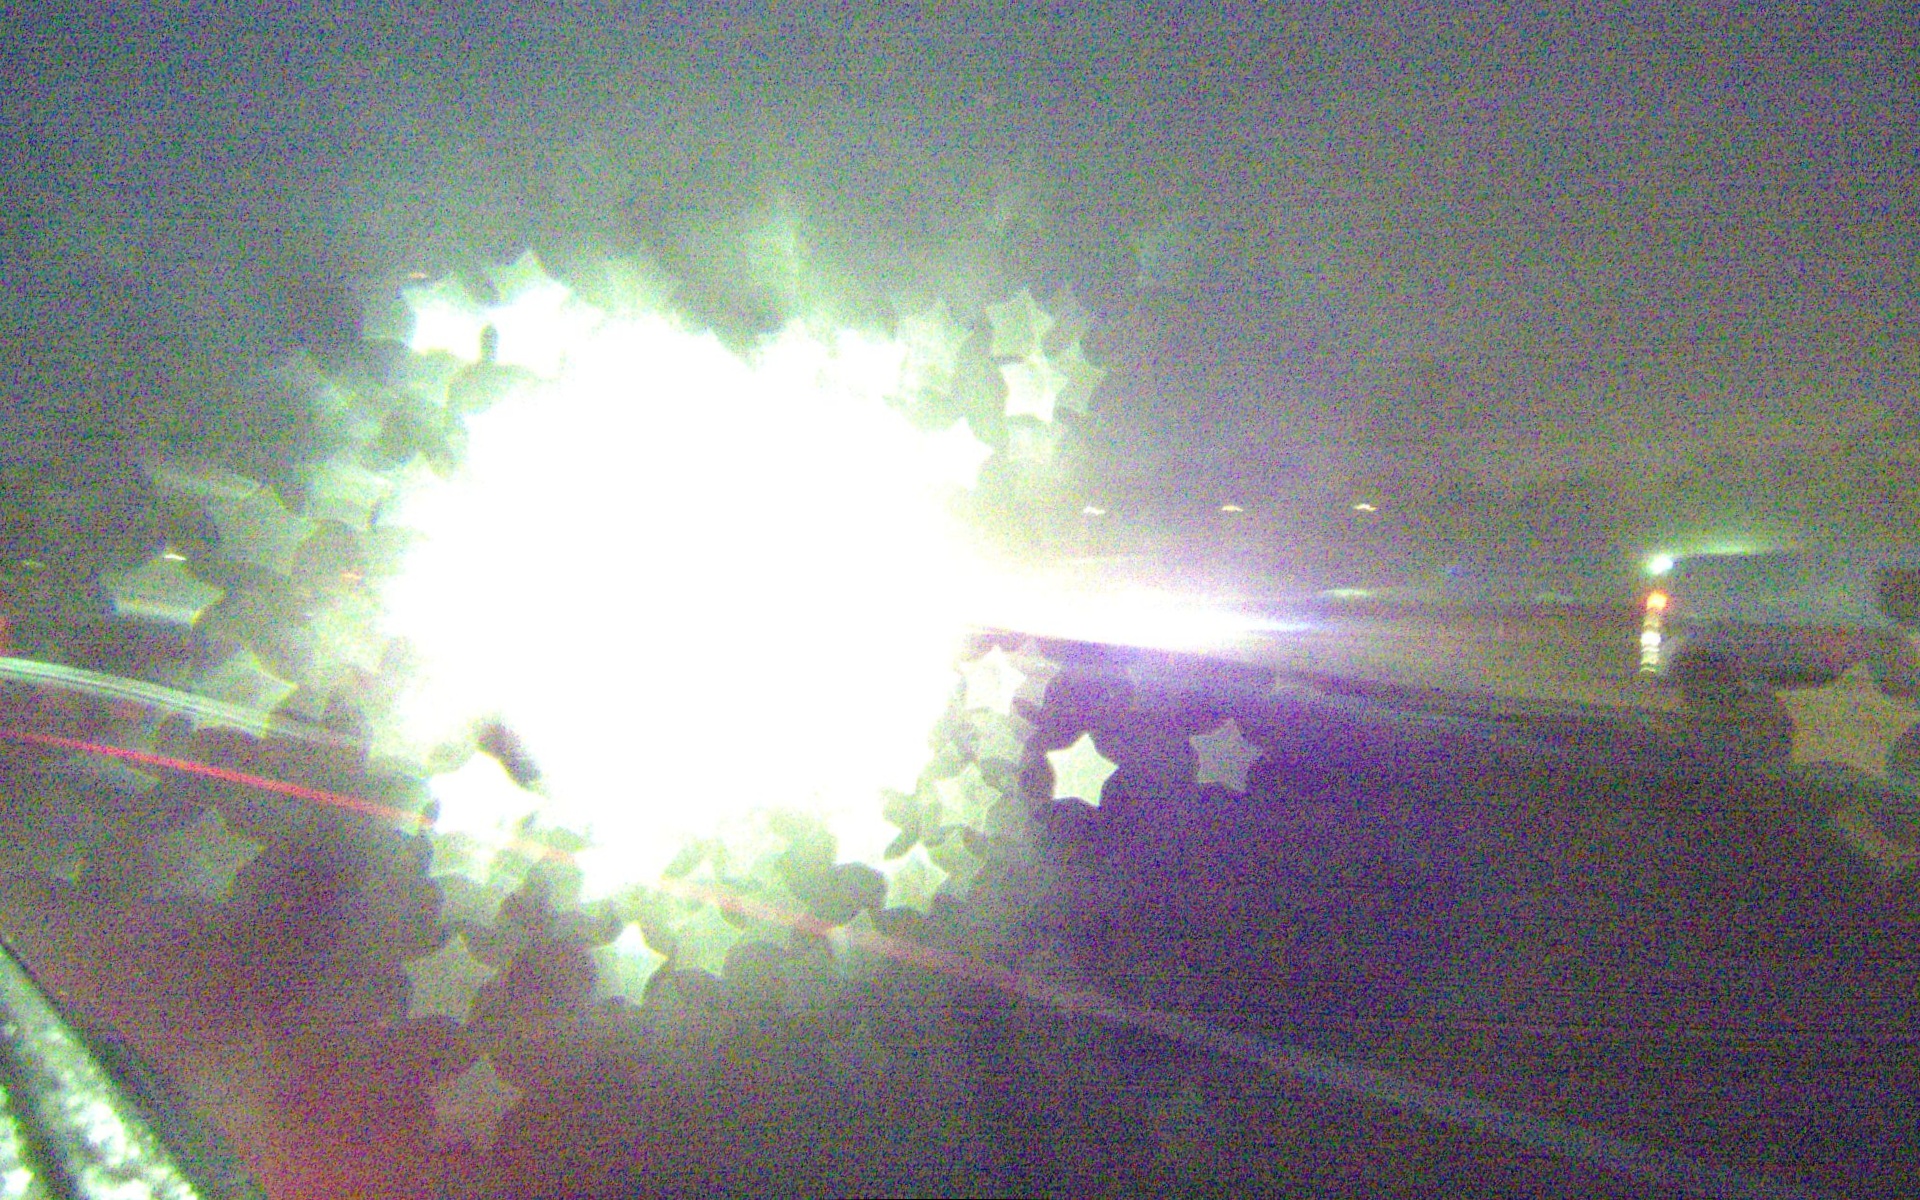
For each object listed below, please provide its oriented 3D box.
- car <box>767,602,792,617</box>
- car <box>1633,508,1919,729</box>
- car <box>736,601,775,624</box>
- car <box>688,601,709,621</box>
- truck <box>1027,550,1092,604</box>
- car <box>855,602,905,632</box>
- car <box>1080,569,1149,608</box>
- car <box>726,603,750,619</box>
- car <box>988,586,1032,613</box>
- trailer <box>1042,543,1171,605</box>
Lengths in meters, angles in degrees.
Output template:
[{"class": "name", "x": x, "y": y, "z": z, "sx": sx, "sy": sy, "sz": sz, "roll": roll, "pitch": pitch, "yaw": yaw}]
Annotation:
[{"class": "car", "x": -19.684, "y": 1.000, "z": 110.387, "sx": 1.889, "sy": 1.608, "sz": 4.013, "roll": -1, "pitch": 0, "yaw": -21}, {"class": "car", "x": 9.669, "y": 0.177, "z": 9.758, "sx": 1.965, "sy": 2.029, "sz": 5.034, "roll": 1, "pitch": 0, "yaw": -23}, {"class": "car", "x": -15.151, "y": 0.925, "z": 74.918, "sx": 1.889, "sy": 1.608, "sz": 4.013, "roll": -1, "pitch": 0, "yaw": -26}, {"class": "car", "x": -29.165, "y": 1.194, "z": 112.868, "sx": 1.966, "sy": 2.028, "sz": 4.013, "roll": -3, "pitch": 1, "yaw": -18}, {"class": "truck", "x": 7.916, "y": -1.805, "z": 80.923, "sx": 2.731, "sy": 4.059, "sz": 5.767, "roll": -3, "pitch": 1, "yaw": -21}, {"class": "car", "x": -4.558, "y": 0.912, "z": 57.162, "sx": 1.698, "sy": 1.608, "sz": 4.013, "roll": -1, "pitch": 0, "yaw": -21}, {"class": "car", "x": 8.537, "y": -0.647, "z": 56.285, "sx": 1.966, "sy": 2.028, "sz": 4.013, "roll": -3, "pitch": 1, "yaw": -22}, {"class": "car", "x": -23.517, "y": 1.107, "z": 107.268, "sx": 1.889, "sy": 1.608, "sz": 4.013, "roll": -1, "pitch": 0, "yaw": -21}, {"class": "car", "x": 3.936, "y": -0.068, "z": 80.242, "sx": 1.966, "sy": 2.028, "sz": 4.013, "roll": -3, "pitch": 1, "yaw": -22}, {"class": "trailer", "x": 10.391, "y": -1.771, "z": 74.387, "sx": 2.731, "sy": 4.059, "sz": 14.060, "roll": -3, "pitch": 1, "yaw": -21}]
